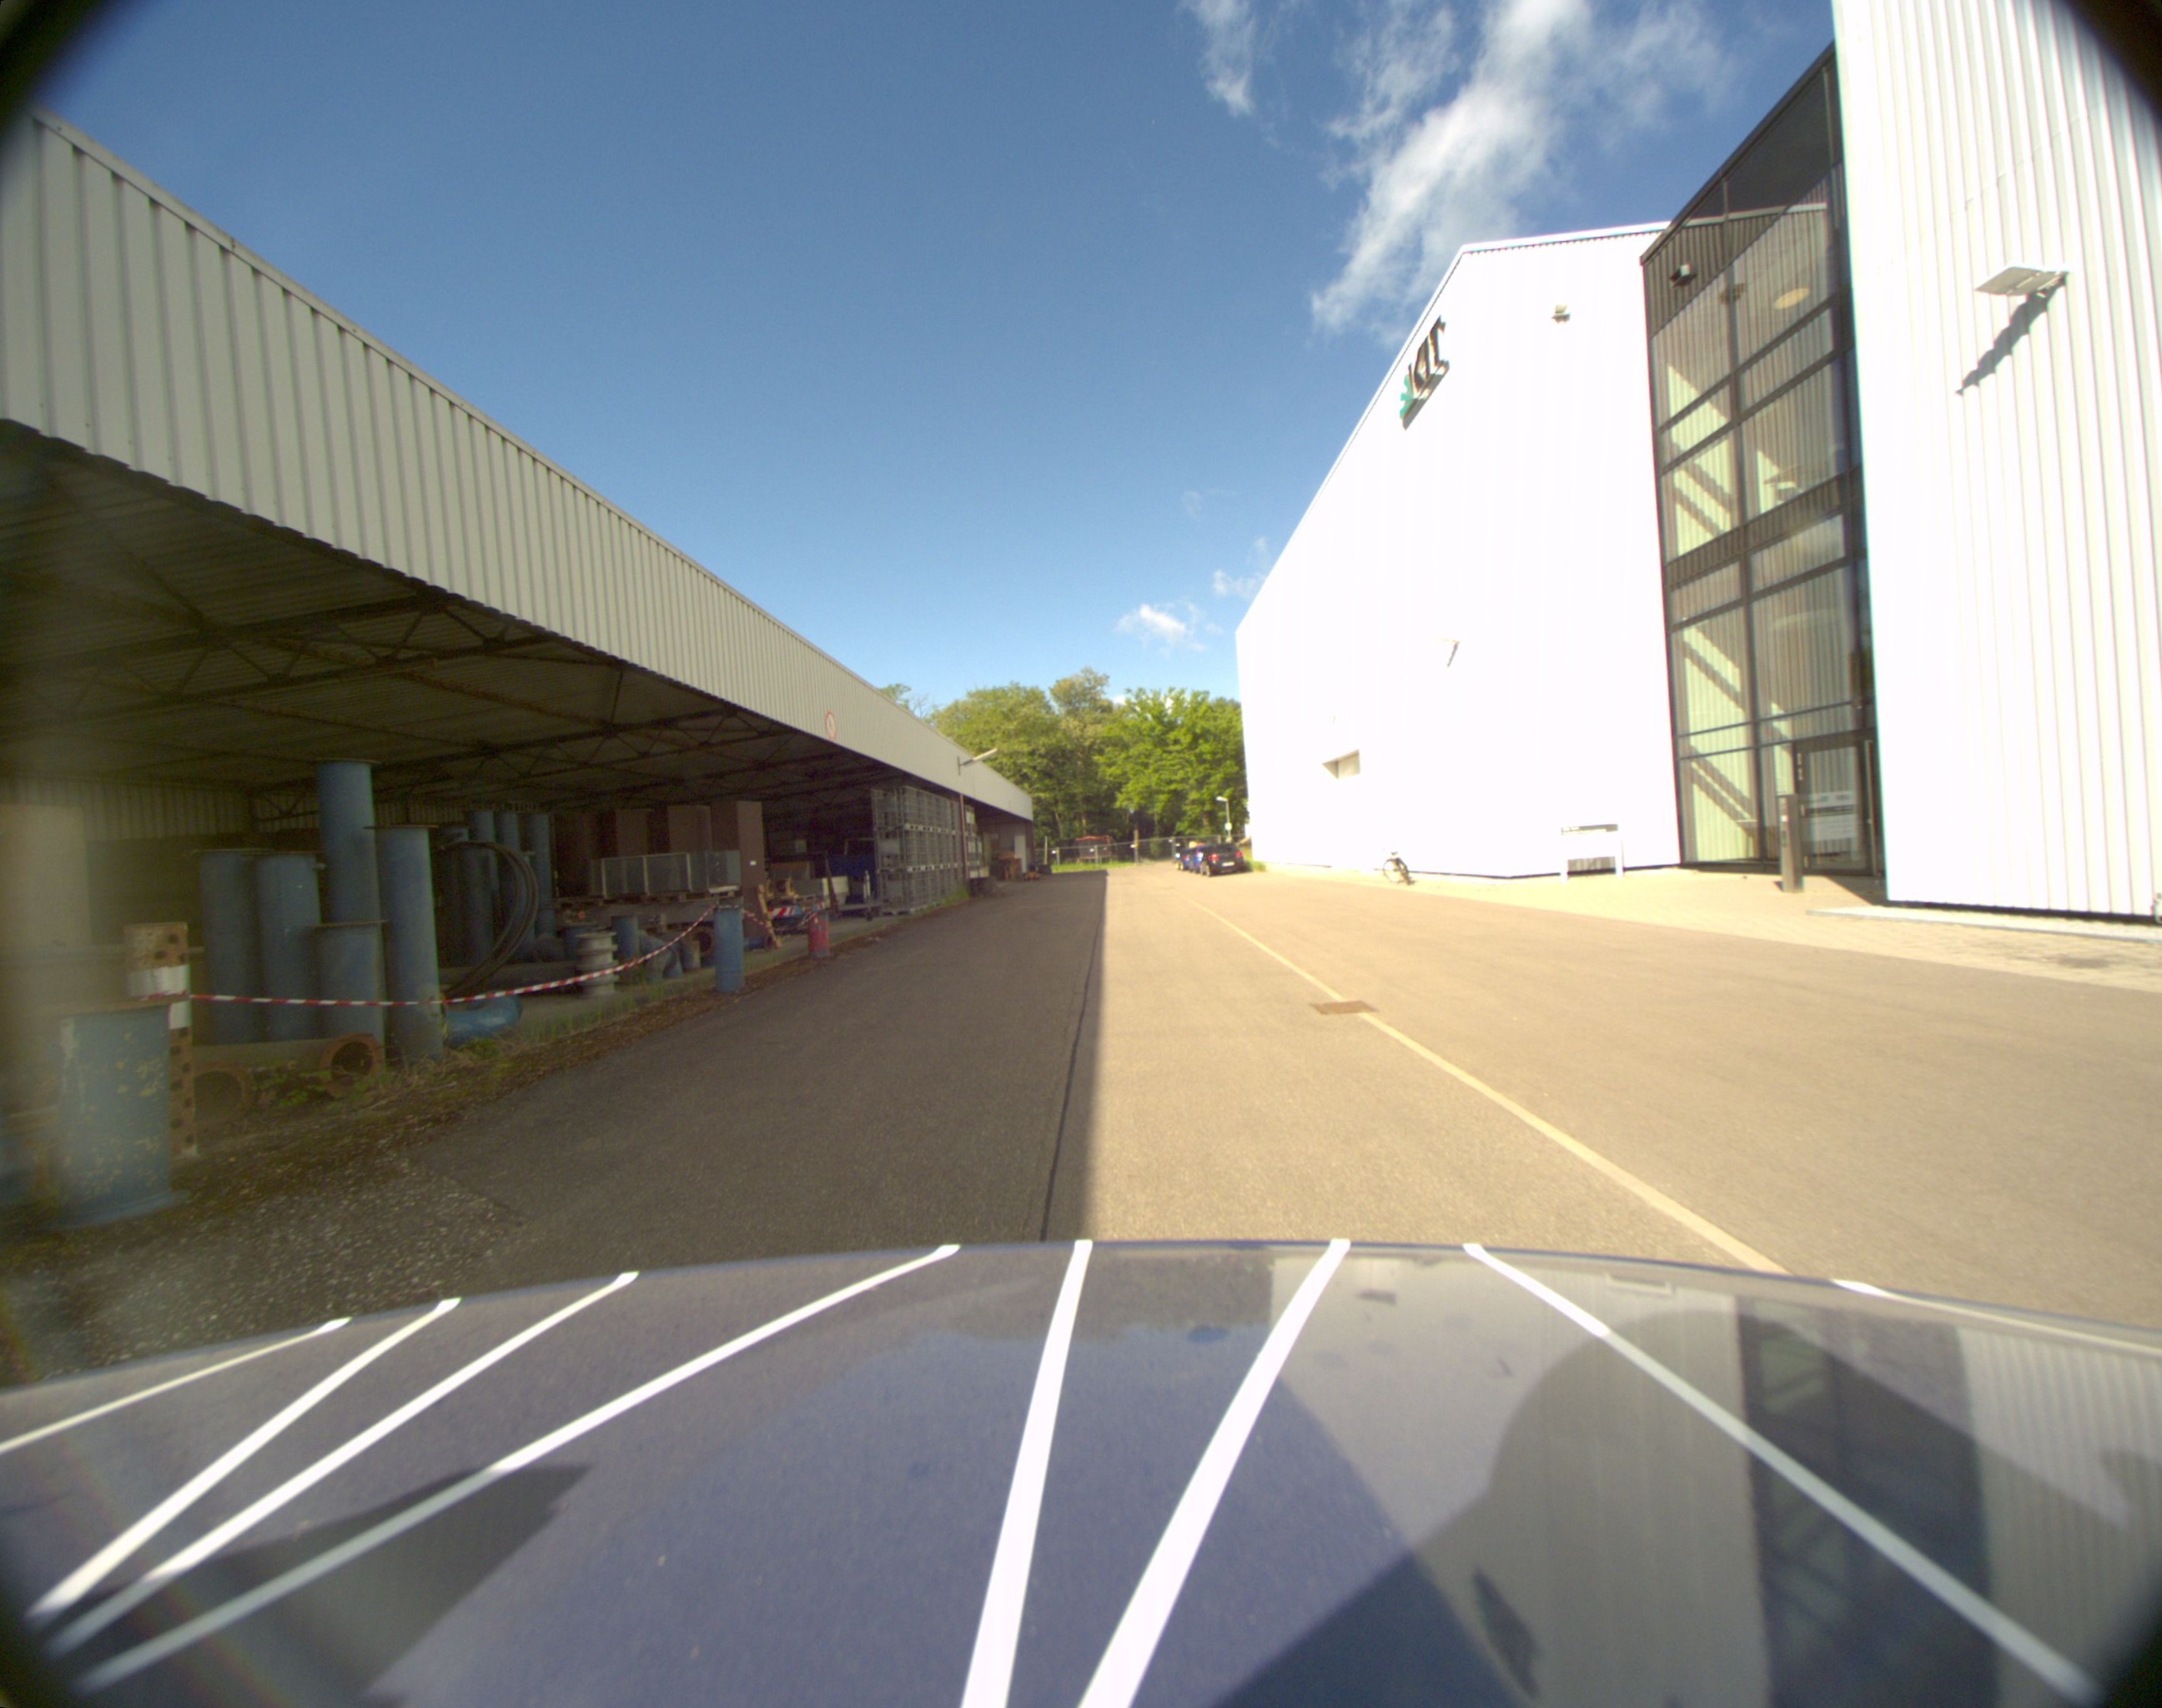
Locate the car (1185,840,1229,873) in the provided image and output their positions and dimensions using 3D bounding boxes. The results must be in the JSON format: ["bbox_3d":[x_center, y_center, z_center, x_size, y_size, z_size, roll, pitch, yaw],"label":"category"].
[{"bbox_3d":[6.738,0.115,40.953,1.789,1.513,4.001,-7,0,4],"label":"car"}]

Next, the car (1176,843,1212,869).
[{"bbox_3d":[6.834,0.109,46.455,1.789,1.432,4.001,-3,1,4],"label":"car"}]

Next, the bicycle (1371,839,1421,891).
[{"bbox_3d":[8.148,0.256,19.719,0.909,1.136,1.901,-7,1,17],"label":"bicycle"}]

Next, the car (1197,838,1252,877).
[{"bbox_3d":[6.677,0.135,35.701,1.895,1.513,4.001,-7,0,4],"label":"car"}]

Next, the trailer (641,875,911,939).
[{"bbox_3d":[-7.428,1.277,18.929,5.836,1.113,2.029,-3,0,1],"label":"trailer"}]

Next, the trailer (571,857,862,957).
[{"bbox_3d":[-7.281,1.028,15.570,4.879,1.619,2.029,-3,1,1],"label":"trailer"}]
